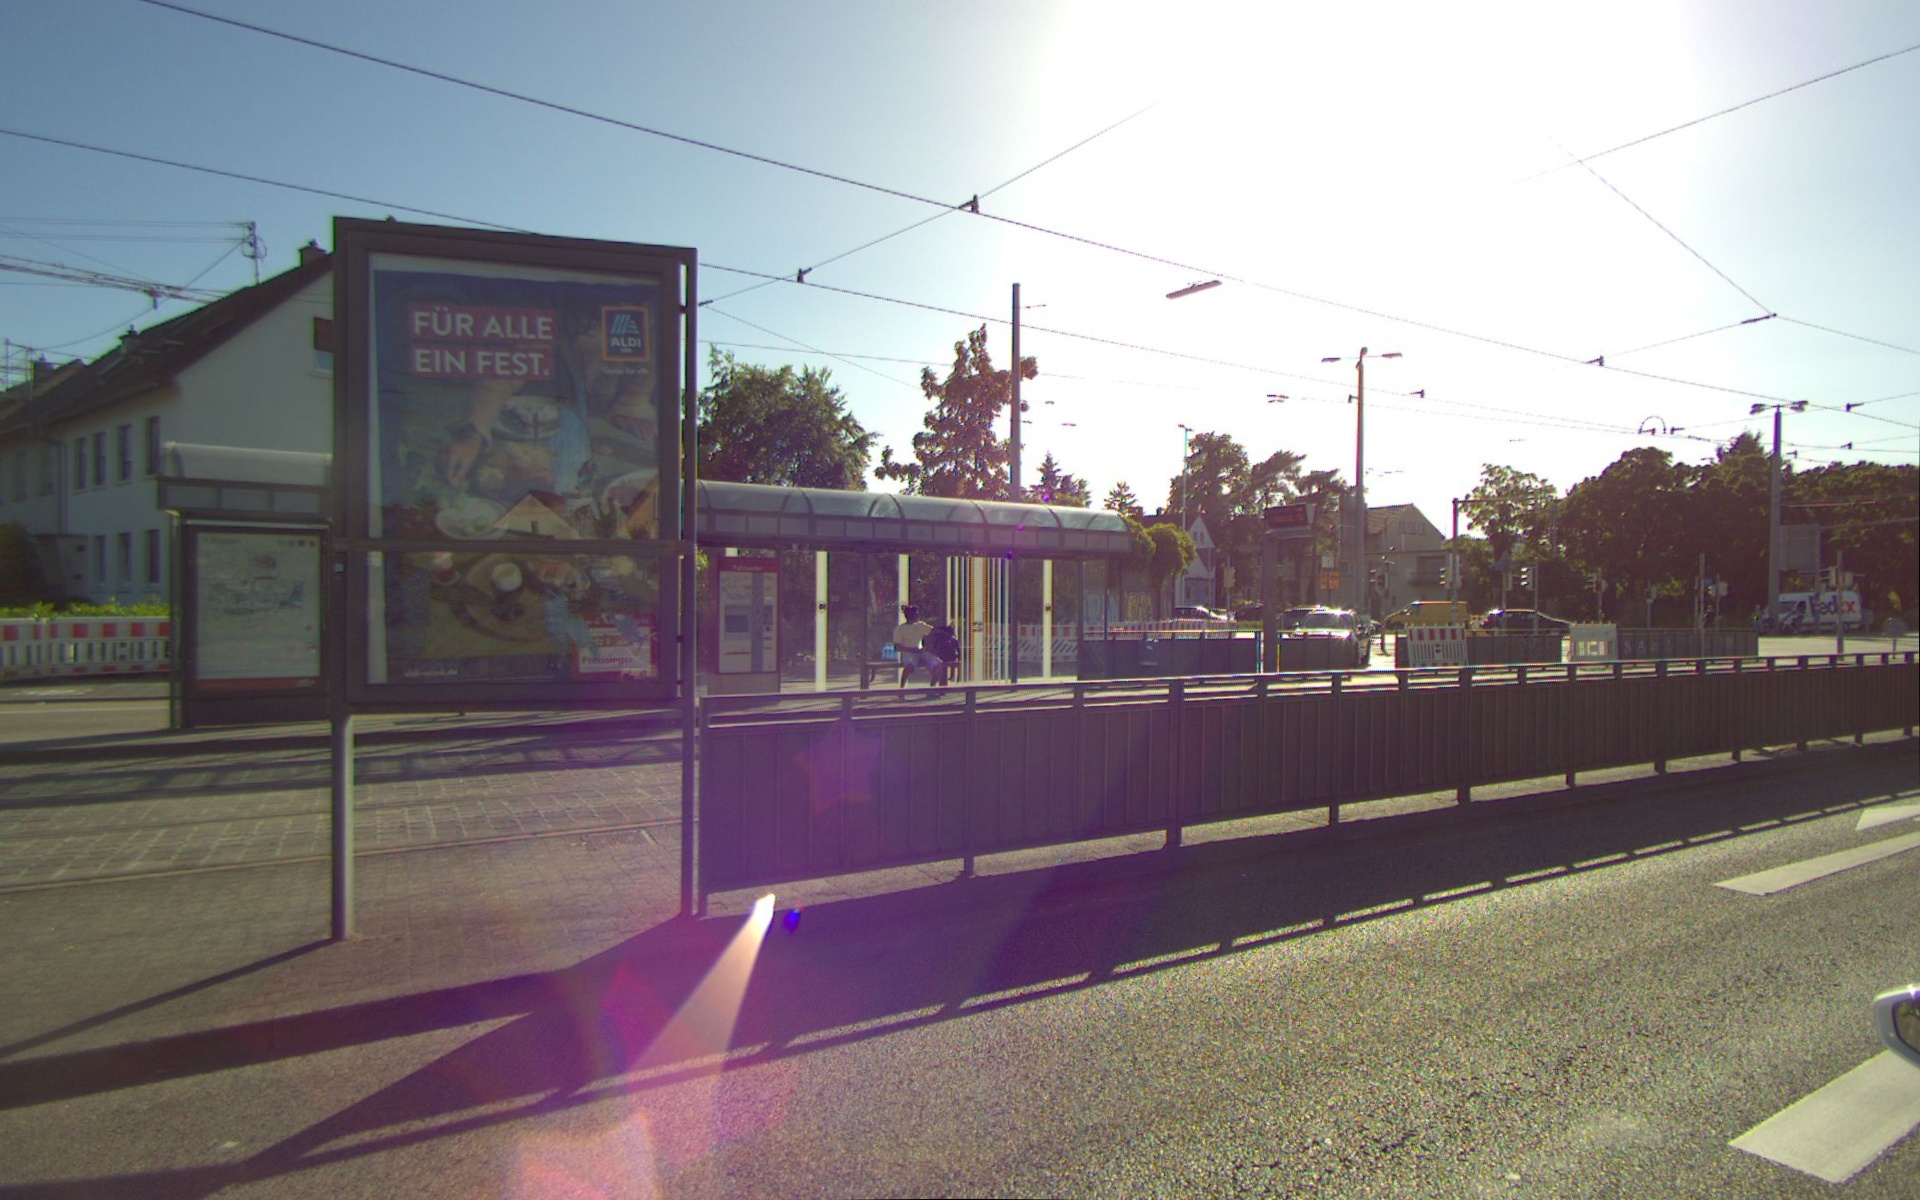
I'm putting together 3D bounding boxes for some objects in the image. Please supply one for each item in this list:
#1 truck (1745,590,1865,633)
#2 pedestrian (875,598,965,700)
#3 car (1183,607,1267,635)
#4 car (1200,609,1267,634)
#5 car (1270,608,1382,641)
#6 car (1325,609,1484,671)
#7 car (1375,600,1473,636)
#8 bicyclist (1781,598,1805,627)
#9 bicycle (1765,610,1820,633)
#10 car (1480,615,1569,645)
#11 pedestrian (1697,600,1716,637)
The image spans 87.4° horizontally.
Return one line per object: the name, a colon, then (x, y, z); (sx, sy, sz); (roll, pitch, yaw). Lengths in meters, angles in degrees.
truck: (52.333, 0.730, 62.235); (6.703, 2.599, 1.995); (0, 0, -12)
pedestrian: (-0.621, 0.739, 15.312); (0.995, 1.472, 1.056); (1, -2, -30)
car: (14.341, 1.121, 54.373); (4.104, 1.451, 1.589); (0, 0, 34)
car: (18.098, 1.398, 66.576); (3.938, 1.493, 1.744); (2, 1, 39)
car: (17.478, 1.135, 48.101); (4.755, 1.517, 1.780); (0, 0, 34)
car: (11.848, 1.019, 26.724); (4.293, 1.540, 1.727); (1, 0, -31)
car: (27.821, 1.039, 60.281); (5.084, 1.905, 1.994); (2, 1, 34)
bicyclist: (47.774, 0.709, 57.604); (0.995, 1.669, 0.813); (1, 0, 43)
bicycle: (47.753, 1.240, 57.628); (2.370, 1.279, 0.813); (0, 0, 43)
car: (27.052, 1.411, 48.204); (3.615, 1.397, 1.523); (0, 0, 35)
pedestrian: (41.723, 1.028, 56.127); (0.785, 2.040, 0.741); (0, 0, -42)
